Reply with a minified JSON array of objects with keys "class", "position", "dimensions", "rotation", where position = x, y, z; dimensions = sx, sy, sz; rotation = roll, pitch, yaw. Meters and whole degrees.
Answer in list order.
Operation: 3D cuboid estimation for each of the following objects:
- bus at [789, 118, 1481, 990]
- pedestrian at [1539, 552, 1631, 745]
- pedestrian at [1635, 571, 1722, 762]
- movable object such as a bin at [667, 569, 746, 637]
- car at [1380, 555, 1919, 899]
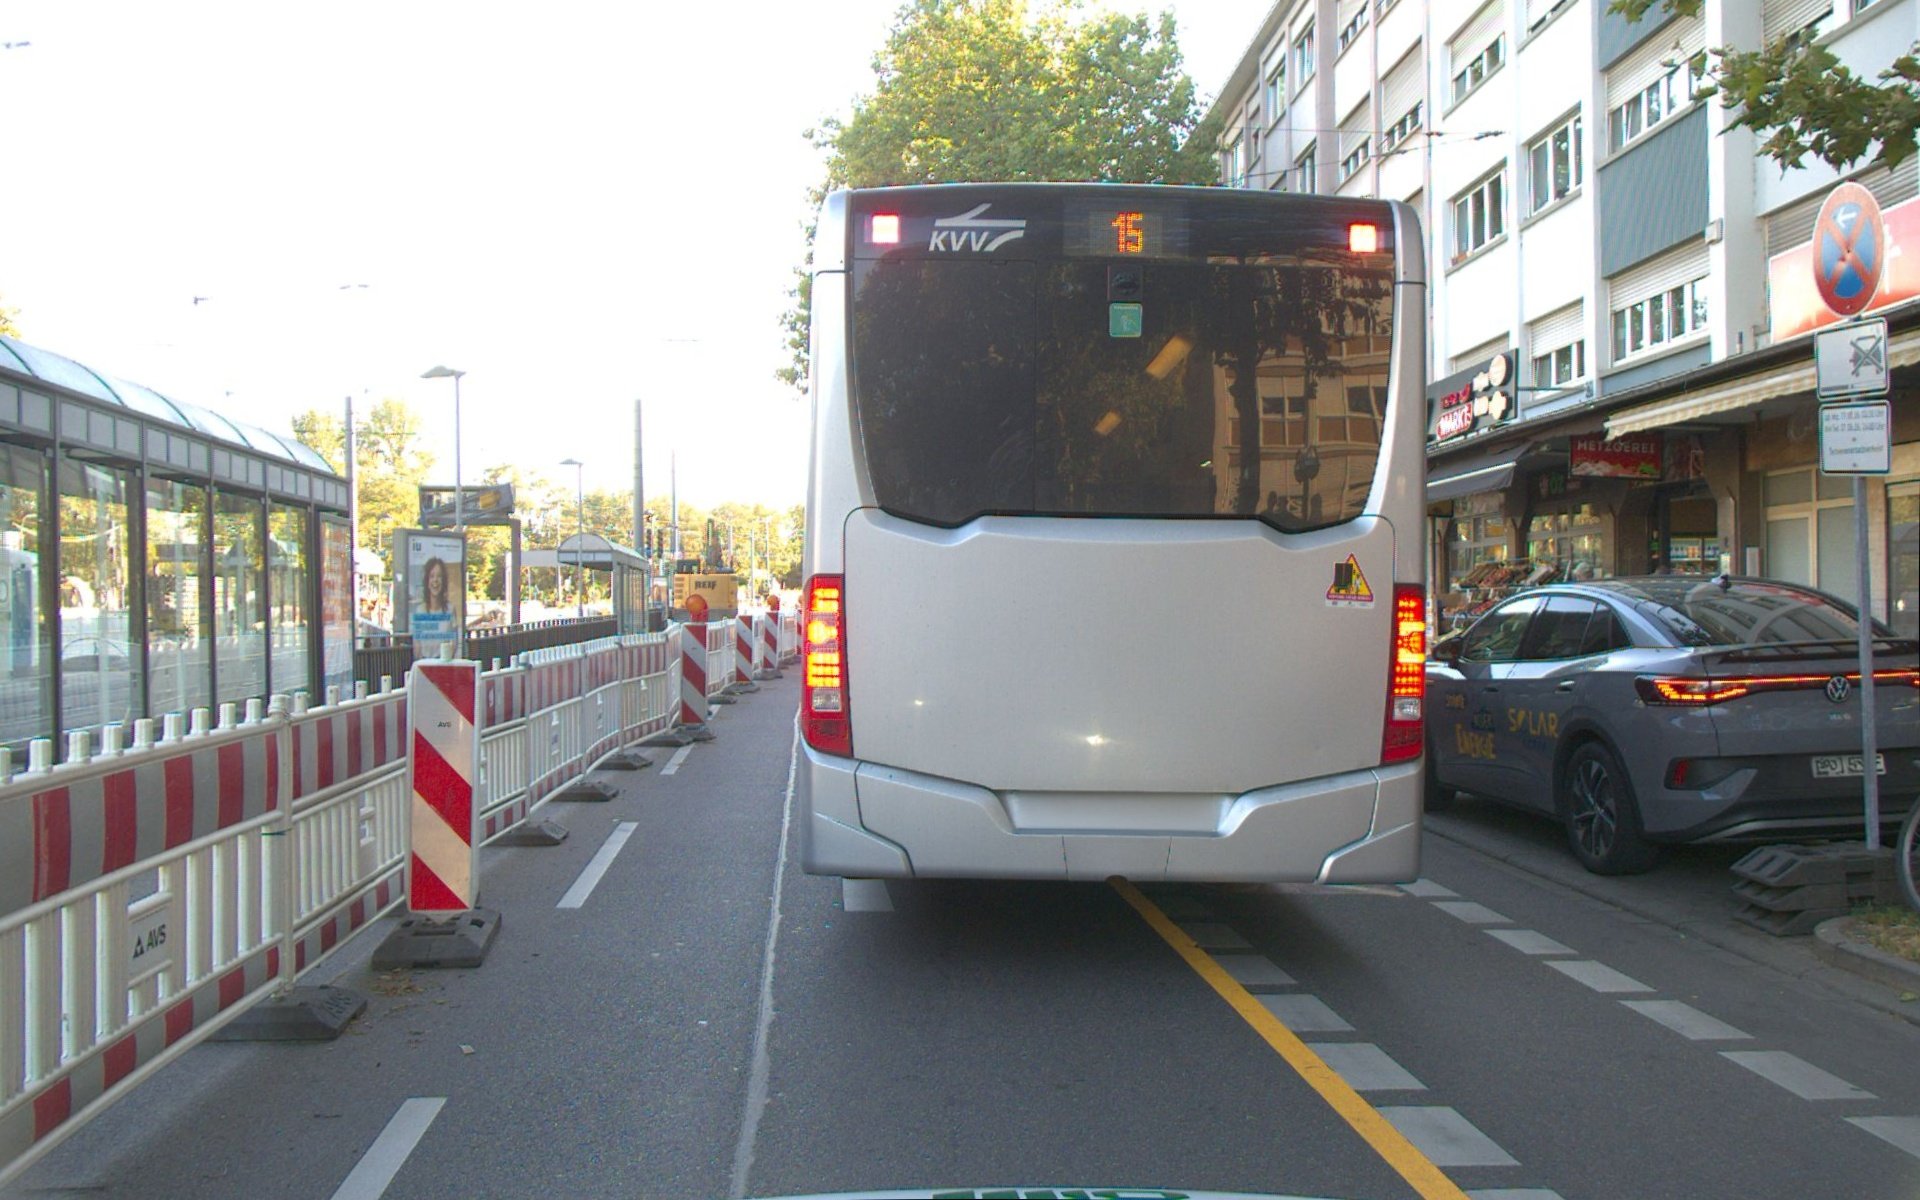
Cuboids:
[{"class":"bus","position":[0.725,-0.192,11.265],"dimensions":[2.554,3.225,10.292],"rotation":[0,0,1]},{"class":"pedestrian","position":[6.772,0.514,17.936],"dimensions":[0.677,2.049,0.695],"rotation":[-1,0,-5]},{"class":"pedestrian","position":[7.880,0.716,18.159],"dimensions":[0.600,2.049,0.696],"rotation":[-1,0,-4]},{"class":"movable object such as a bin","position":[-9.696,0.097,63.523],"dimensions":[2.752,2.505,3.995],"rotation":[-1,0,-6]},{"class":"car","position":[4.233,0.613,10.359],"dimensions":[1.706,1.625,4.294],"rotation":[-3,0,-5]}]
